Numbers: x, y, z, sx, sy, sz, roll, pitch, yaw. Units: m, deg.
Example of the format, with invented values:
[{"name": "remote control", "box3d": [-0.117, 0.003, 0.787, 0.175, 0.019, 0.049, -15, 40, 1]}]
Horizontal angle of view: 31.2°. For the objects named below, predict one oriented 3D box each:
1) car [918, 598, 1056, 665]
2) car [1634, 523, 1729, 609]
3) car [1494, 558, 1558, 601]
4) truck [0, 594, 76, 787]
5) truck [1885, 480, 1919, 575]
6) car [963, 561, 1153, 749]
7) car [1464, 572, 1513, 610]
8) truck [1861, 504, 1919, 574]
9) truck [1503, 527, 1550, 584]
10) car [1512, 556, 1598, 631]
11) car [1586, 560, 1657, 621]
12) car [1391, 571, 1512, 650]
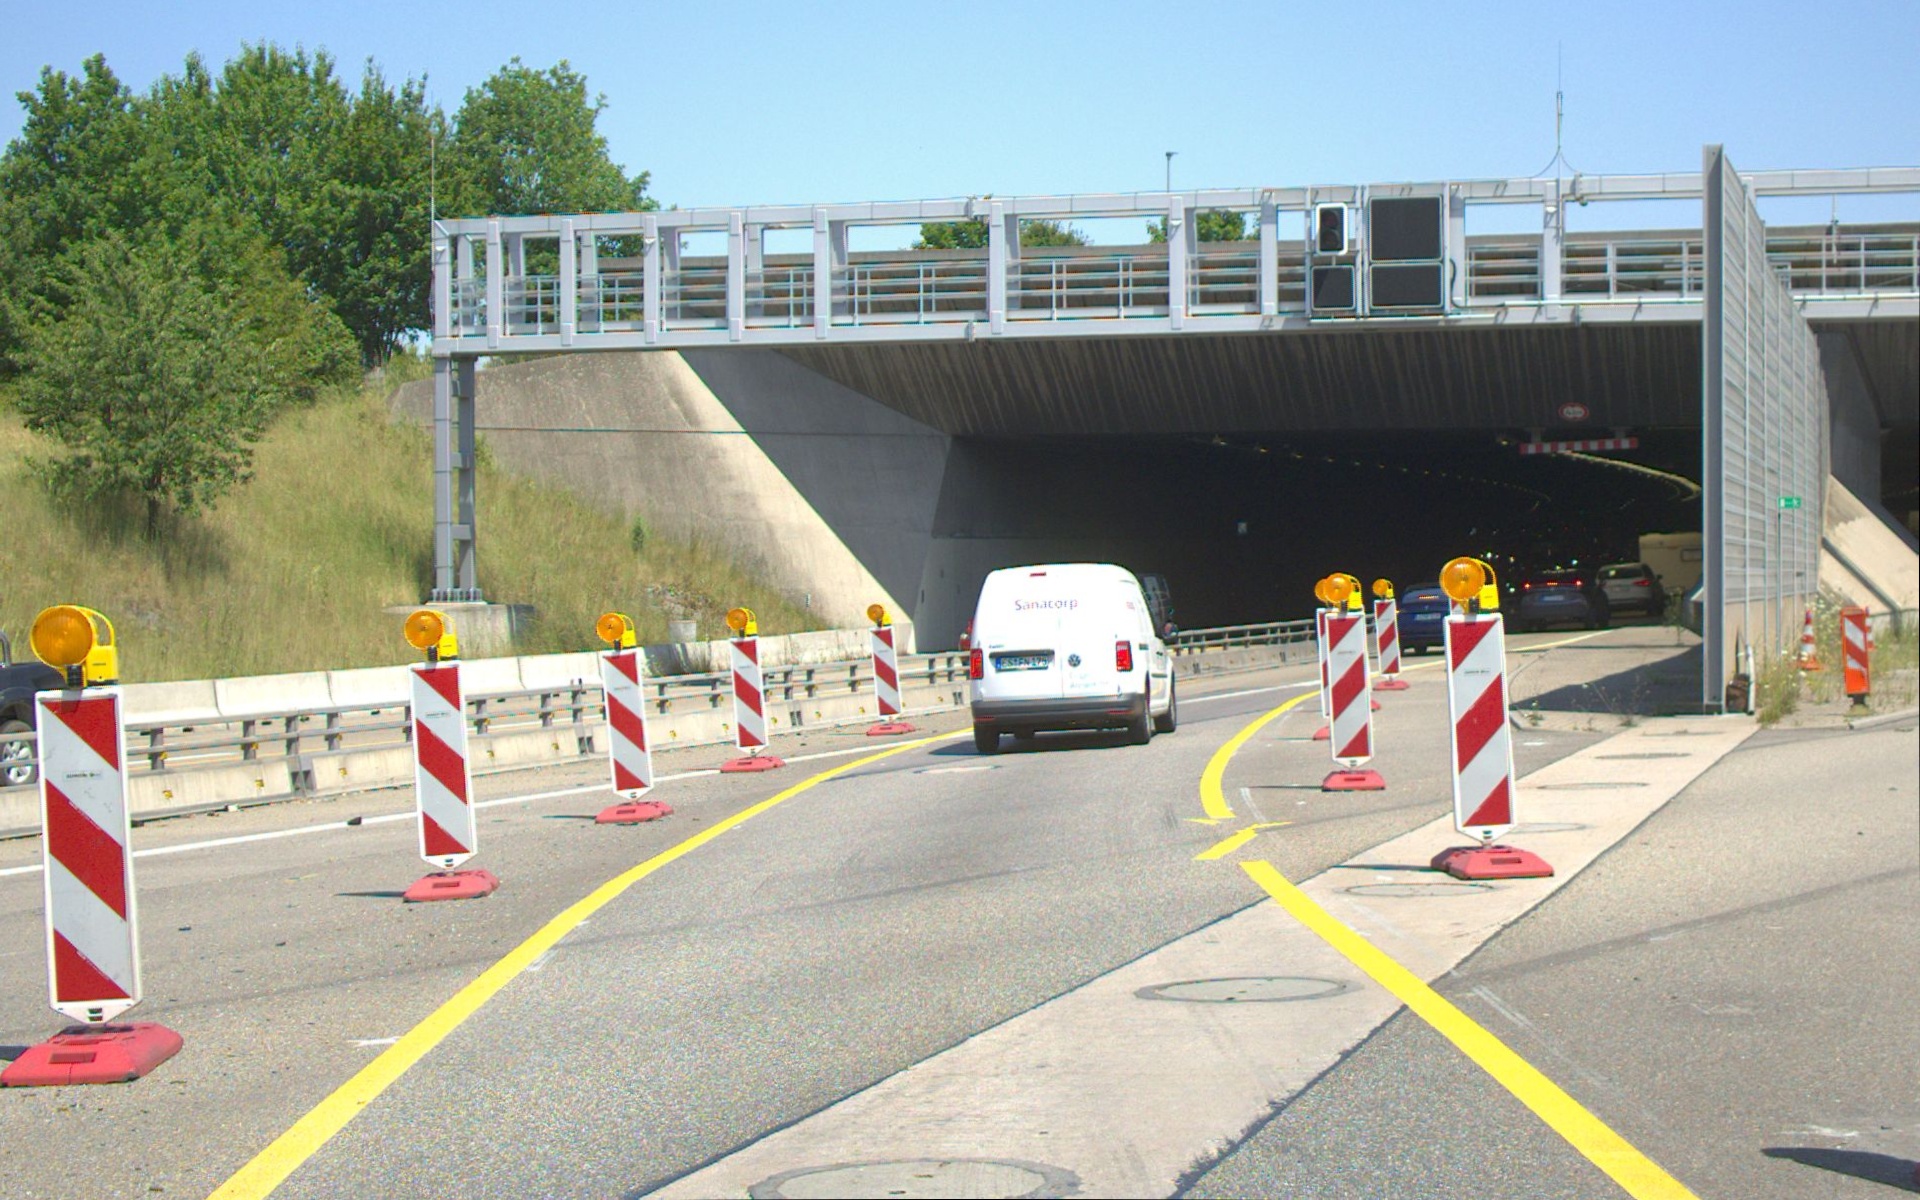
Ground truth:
[{"name": "car", "box3d": [0.646, 0.710, 78.325, 1.689, 1.390, 3.995, -3, -1, 23]}, {"name": "car", "box3d": [25.226, -1.137, 119.956, 2.815, 2.764, 7.096, -1, -1, 15]}, {"name": "car", "box3d": [22.627, -0.834, 137.282, 1.775, 1.588, 4.982, -3, 0, 17]}, {"name": "truck", "box3d": [-10.753, 0.943, 33.088, 1.995, 1.867, 4.757, -1, 1, 20]}, {"name": "truck", "box3d": [50.681, -3.659, 178.887, 3.403, 4.320, 16.528, 2, 0, 10]}, {"name": "car", "box3d": [0.980, 0.528, 35.092, 1.808, 1.788, 3.731, -1, 0, 1]}, {"name": "car", "box3d": [24.743, -0.433, 160.821, 1.774, 1.661, 4.804, -3, 0, 14]}, {"name": "truck", "box3d": [59.908, -3.812, 219.115, 3.403, 4.057, 16.529, 1, 0, 10]}, {"name": "truck", "box3d": [41.091, -3.229, 249.242, 2.812, 3.902, 6.452, -3, 0, 13]}, {"name": "car", "box3d": [14.959, -0.165, 86.251, 1.809, 1.809, 4.407, -1, 0, 14]}, {"name": "car", "box3d": [19.468, -0.276, 101.013, 1.809, 1.745, 4.407, -1, 0, 14]}, {"name": "car", "box3d": [10.018, 0.198, 69.810, 1.810, 1.532, 4.406, -1, 0, 16]}]
